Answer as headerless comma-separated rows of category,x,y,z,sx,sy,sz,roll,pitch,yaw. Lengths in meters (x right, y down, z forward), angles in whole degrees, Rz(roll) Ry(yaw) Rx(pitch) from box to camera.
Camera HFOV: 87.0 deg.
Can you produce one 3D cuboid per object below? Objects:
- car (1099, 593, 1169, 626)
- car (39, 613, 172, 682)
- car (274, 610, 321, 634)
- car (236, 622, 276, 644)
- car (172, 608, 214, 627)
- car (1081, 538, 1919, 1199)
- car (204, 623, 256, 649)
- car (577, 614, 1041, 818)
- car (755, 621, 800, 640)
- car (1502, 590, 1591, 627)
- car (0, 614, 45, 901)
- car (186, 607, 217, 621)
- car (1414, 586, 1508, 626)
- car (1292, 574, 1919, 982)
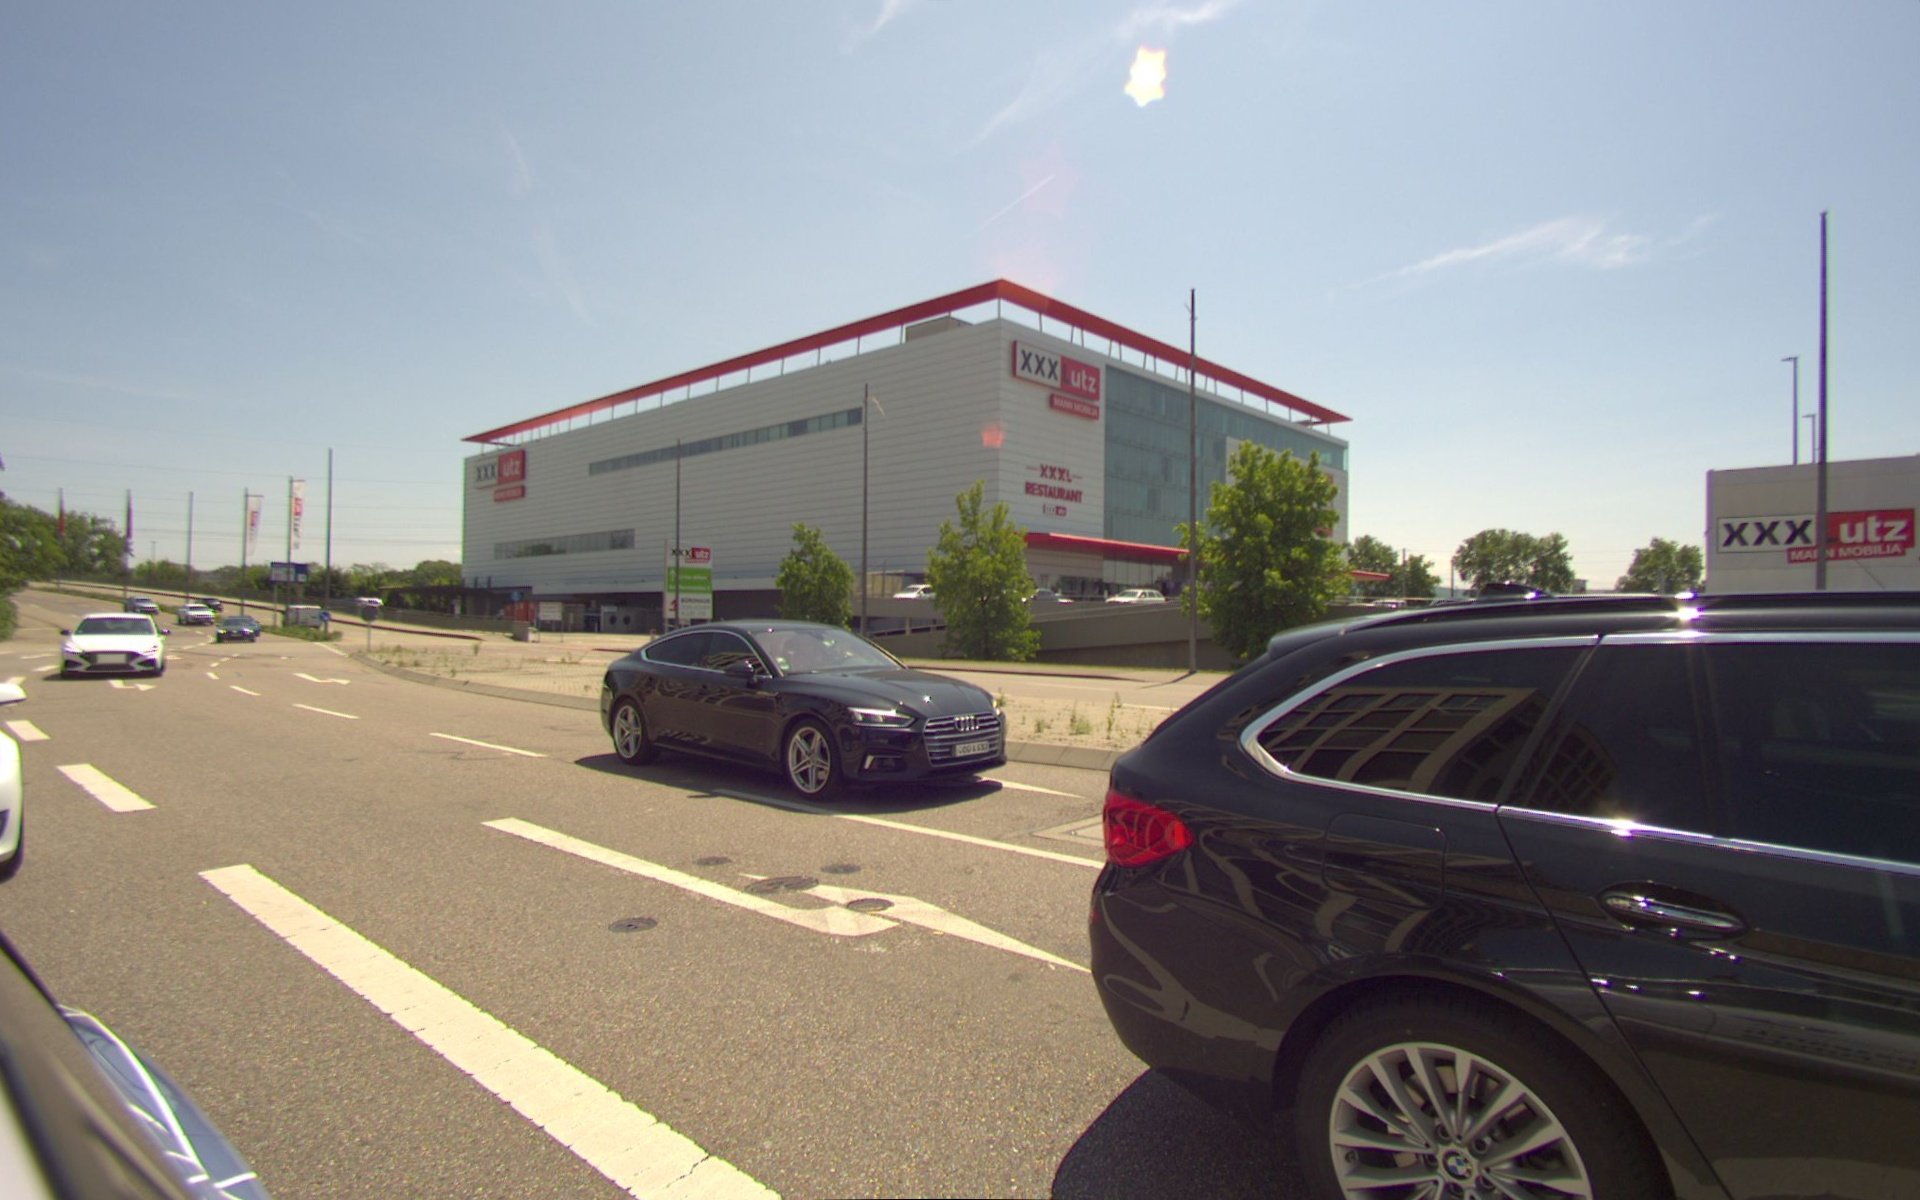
car,9.930,0.573,57.566,2.001,1.781,4.140,0,-2,44
car,-19.917,1.066,23.528,4.228,1.461,1.712,-1,-2,41
car,-53.774,1.785,82.073,4.836,1.864,1.812,-1,-2,39
car,-47.676,2.200,68.479,1.775,1.424,4.412,0,-1,-41
car,-62.942,1.435,83.026,4.049,1.587,1.660,-1,-2,37
car,2.624,0.636,1.635,4.620,1.477,1.781,-1,-1,40
car,-41.177,2.026,57.020,1.776,1.388,4.410,2,-2,-43
car,-1.581,0.859,9.167,4.533,1.401,1.729,-2,-2,43
car,-16.760,2.823,93.264,1.911,1.632,3.698,0,-2,41
car,32.309,0.489,55.796,3.996,1.923,1.974,-1,-2,39
car,-6.982,0.826,5.858,4.401,1.436,1.857,-1,-1,39
car,-74.382,1.419,99.231,3.894,1.312,1.835,-1,-3,43
car,25.922,0.347,52.395,3.998,1.946,1.973,-1,-2,41
car,3.802,0.667,4.644,3.991,1.505,1.782,-1,-1,36
